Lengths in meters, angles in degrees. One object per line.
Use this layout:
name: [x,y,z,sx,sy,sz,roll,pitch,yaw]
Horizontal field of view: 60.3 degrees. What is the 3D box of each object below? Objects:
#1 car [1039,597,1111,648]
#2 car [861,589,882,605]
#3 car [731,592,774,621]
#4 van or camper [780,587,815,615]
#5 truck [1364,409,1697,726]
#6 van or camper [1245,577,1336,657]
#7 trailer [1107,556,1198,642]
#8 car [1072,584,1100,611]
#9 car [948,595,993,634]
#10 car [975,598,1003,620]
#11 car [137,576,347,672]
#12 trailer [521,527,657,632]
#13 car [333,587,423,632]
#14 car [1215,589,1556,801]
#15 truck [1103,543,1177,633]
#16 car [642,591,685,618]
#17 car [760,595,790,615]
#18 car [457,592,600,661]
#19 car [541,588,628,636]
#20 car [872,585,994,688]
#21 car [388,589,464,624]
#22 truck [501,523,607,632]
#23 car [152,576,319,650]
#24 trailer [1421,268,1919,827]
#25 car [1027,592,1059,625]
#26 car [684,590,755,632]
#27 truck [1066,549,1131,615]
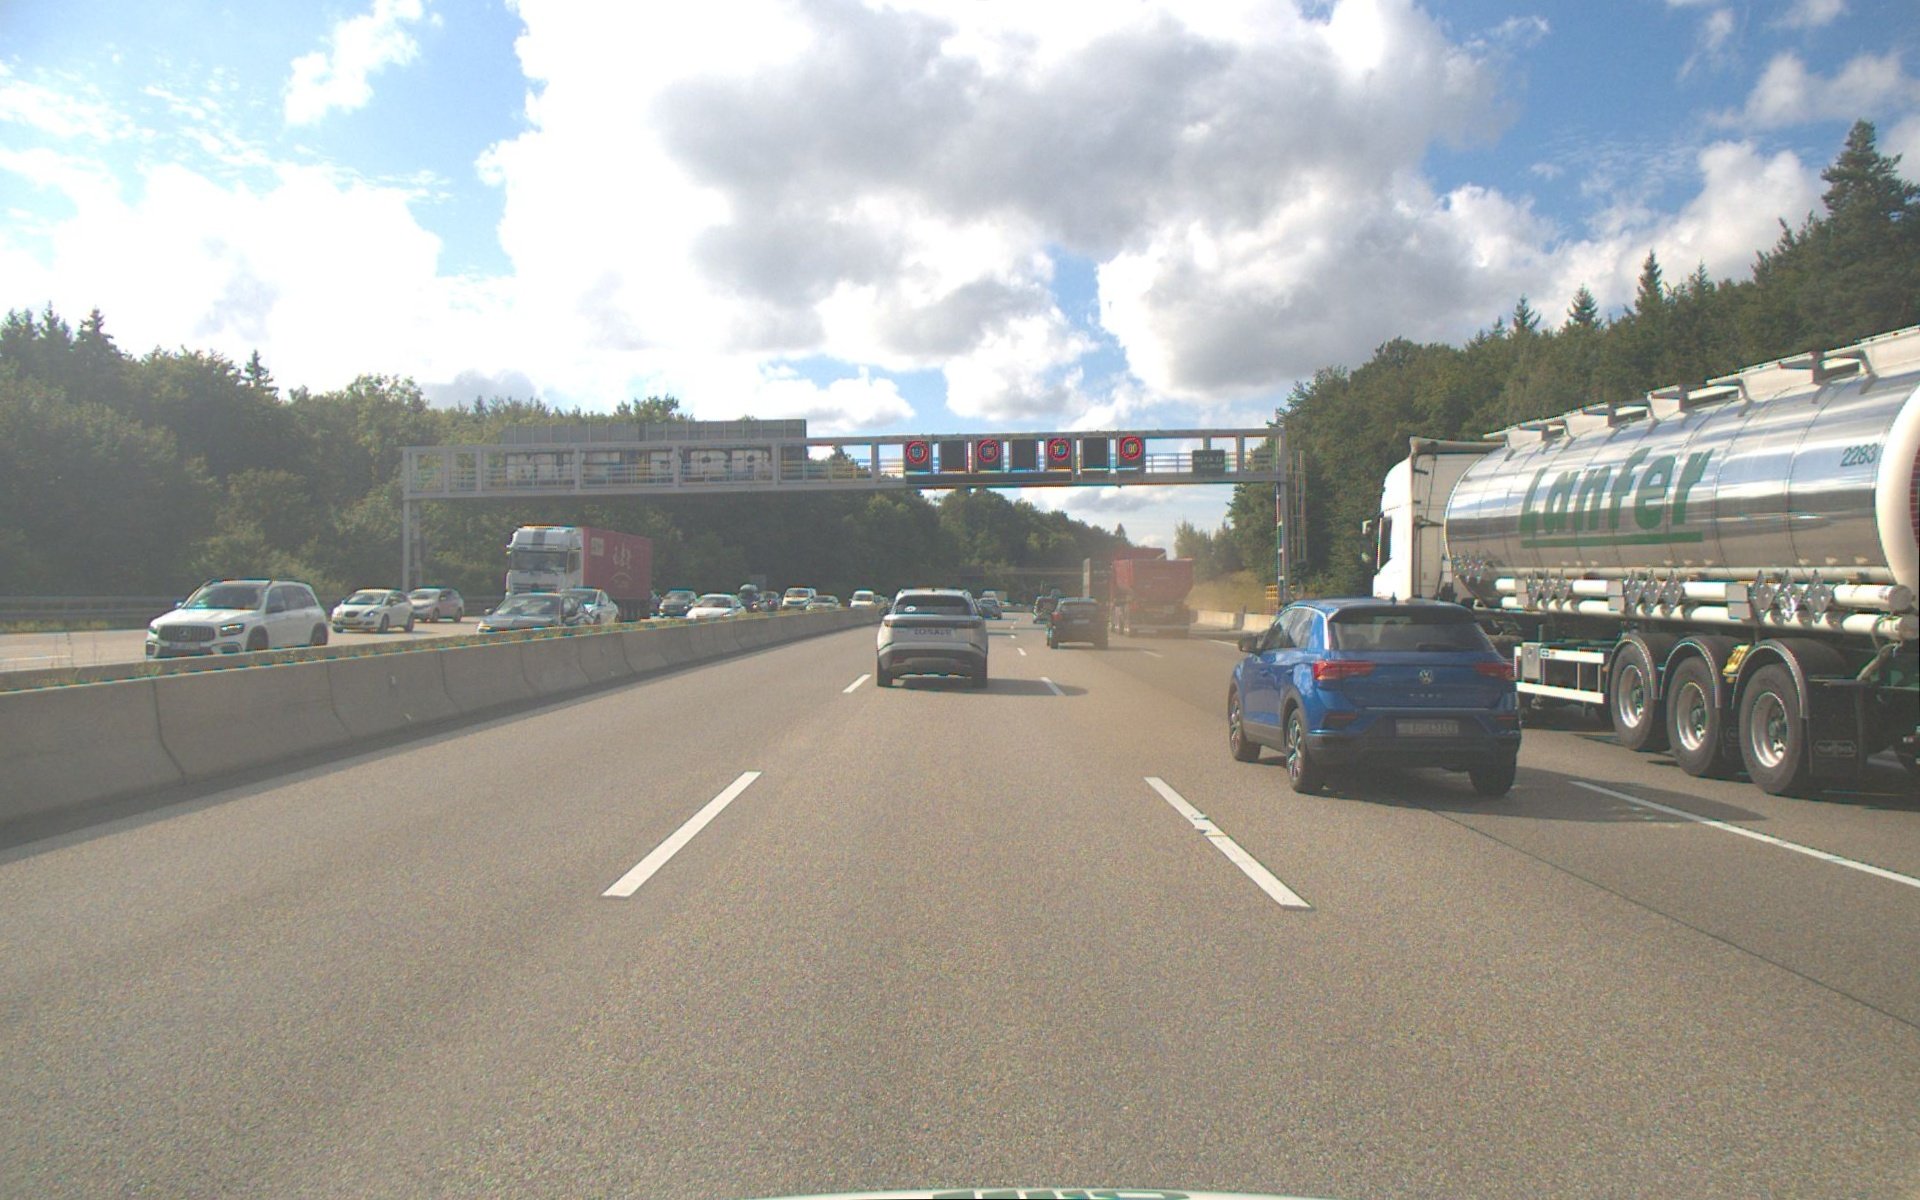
car: [3.506,0.655,51.079,1.786,1.483,3.998,1,0,-2]
car: [-9.502,-0.271,177.226,1.631,1.668,4.482,1,0,5]
car: [-11.757,0.355,94.013,1.663,1.555,4.686,1,0,2]
van or camper: [-10.958,0.054,111.851,1.824,1.882,5.155,1,0,0]
truck: [7.751,-0.415,23.347,2.594,3.890,6.082,0,0,0]
van or camper: [10.174,0.484,51.228,1.785,2.348,4.938,0,0,-1]
trailer: [7.844,-0.074,68.459,2.654,3.288,9.733,1,0,0]
car: [9.125,-0.210,120.288,1.854,1.889,4.102,1,0,2]
car: [0.441,0.581,69.119,1.785,1.573,4.000,1,0,0]
car: [2.031,0.615,114.745,1.784,1.483,4.001,1,0,3]
car: [-13.303,0.411,31.002,1.673,1.622,4.944,1,0,1]
trailer: [-16.187,-0.842,73.394,2.682,4.178,13.418,1,0,1]
car: [-20.053,0.314,57.157,1.591,1.451,4.285,1,0,0]
car: [3.492,0.722,14.460,1.737,1.557,4.456,1,0,-1]
truck: [7.894,-0.539,73.079,2.654,3.783,5.817,1,0,0]
car: [-16.683,0.225,93.176,1.604,1.440,4.000,1,0,0]
car: [-13.484,0.357,121.012,1.604,1.440,4.001,1,0,2]
car: [-9.444,0.545,36.613,1.953,1.386,4.619,1,0,0]
car: [-12.783,0.383,56.603,1.819,1.552,4.994,1,0,0]
car: [-0.506,0.593,29.634,1.965,1.644,5.299,1,0,-1]
car: [-23.481,0.259,72.830,1.953,1.463,4.278,1,0,0]
truck: [-16.334,-0.859,66.878,2.682,4.178,5.765,1,0,1]
car: [-17.249,0.285,39.682,1.757,1.646,5.044,1,0,0]
trailer: [7.759,-0.389,17.277,2.594,3.833,11.859,0,0,0]
car: [4.891,0.490,97.779,1.854,1.889,4.101,1,0,2]
car: [-9.042,0.395,62.510,1.733,1.467,4.852,1,0,3]
truck: [8.935,-1.128,107.847,3.055,4.003,10.408,1,0,-1]
